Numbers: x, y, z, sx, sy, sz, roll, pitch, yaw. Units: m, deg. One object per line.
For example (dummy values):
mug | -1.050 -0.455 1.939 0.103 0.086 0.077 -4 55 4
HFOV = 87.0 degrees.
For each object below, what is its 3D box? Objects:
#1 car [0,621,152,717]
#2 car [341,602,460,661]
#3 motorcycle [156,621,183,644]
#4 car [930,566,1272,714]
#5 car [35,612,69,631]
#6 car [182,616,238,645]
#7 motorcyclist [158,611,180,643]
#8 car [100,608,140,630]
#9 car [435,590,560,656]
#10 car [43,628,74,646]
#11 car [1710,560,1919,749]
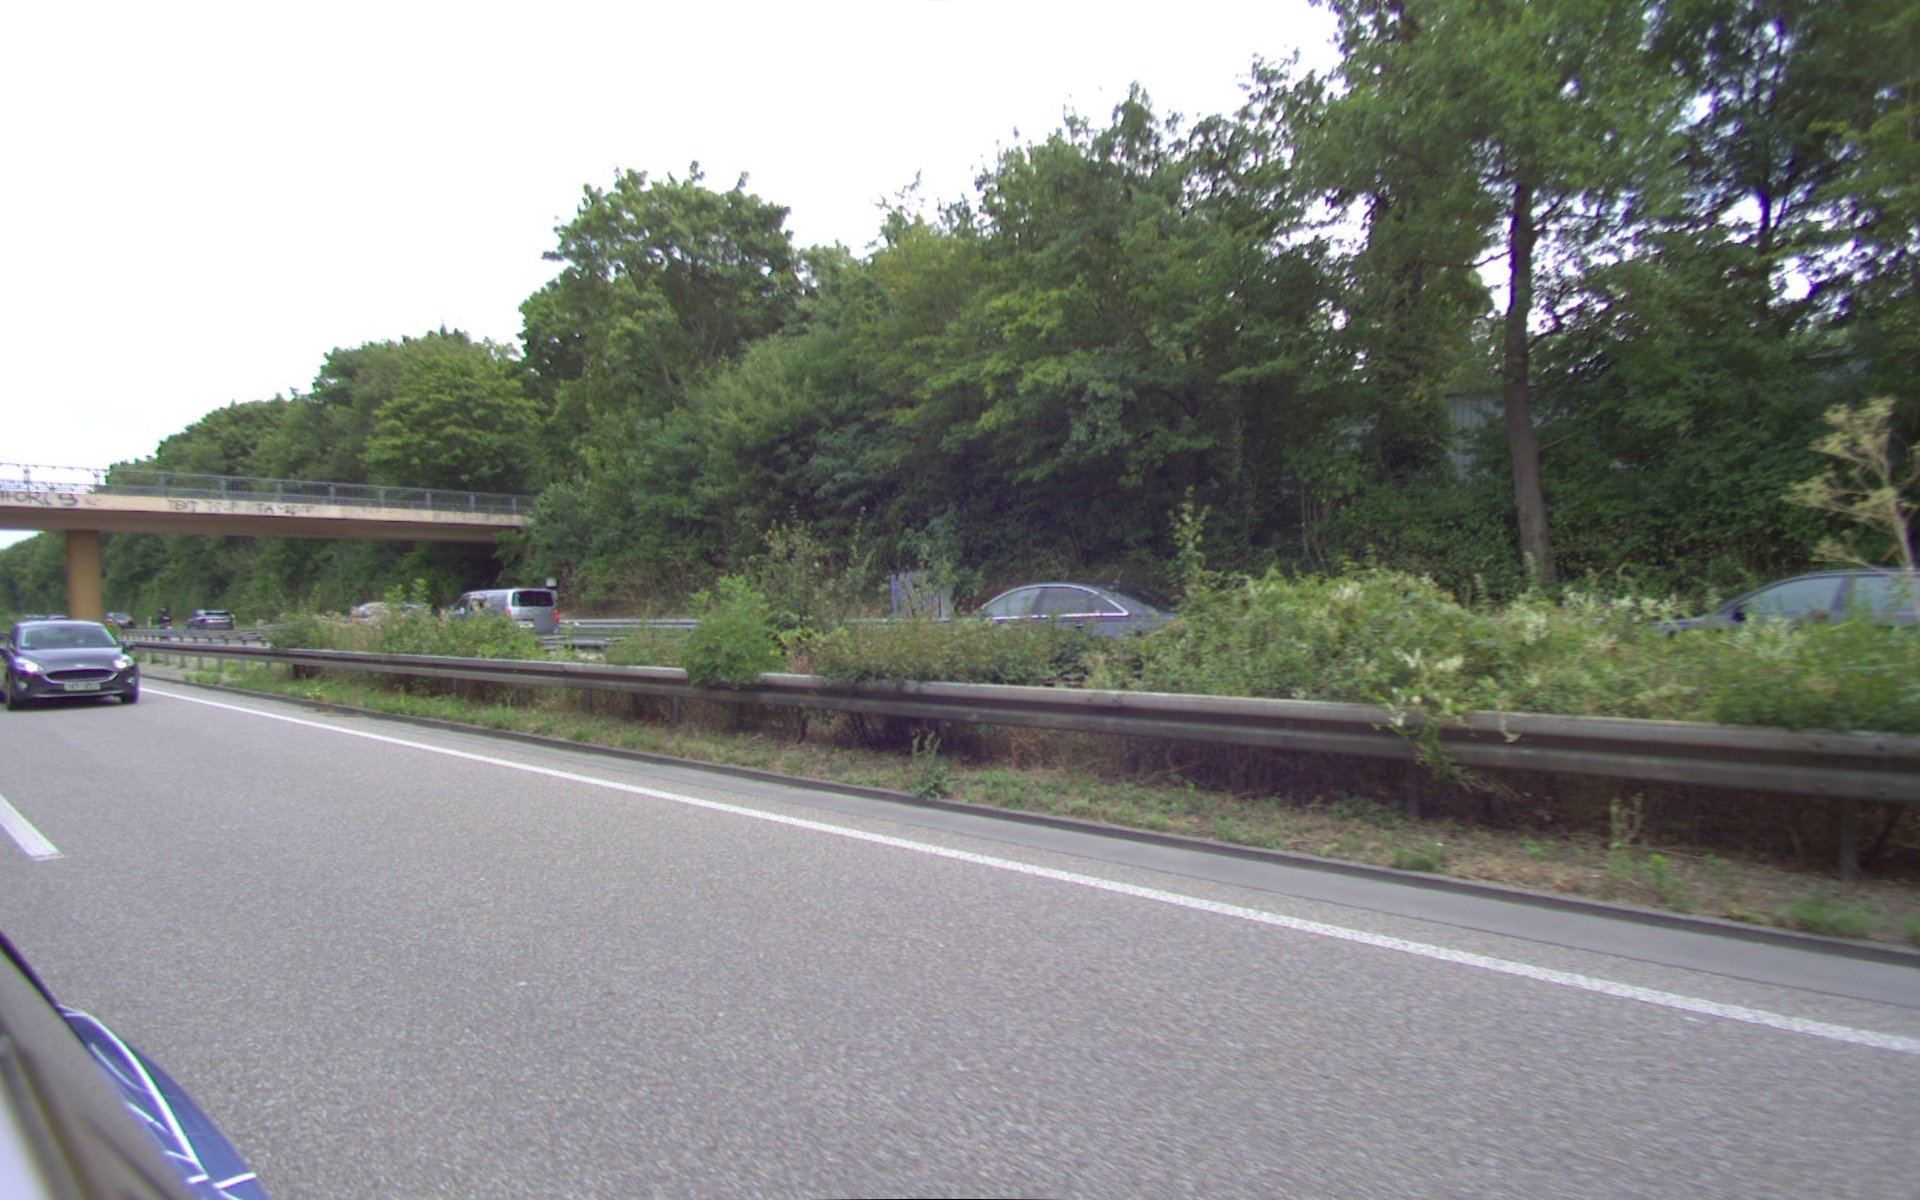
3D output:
car | -16.112 1.129 18.165 4.638 1.469 1.807 -1 -1 42
car | -16.541 0.893 29.834 4.180 1.602 1.784 -1 -1 41
motorcycle | -38.883 1.591 49.774 2.195 1.075 0.694 -1 -1 42
car | 1.732 0.455 13.164 3.999 1.623 1.972 -1 -1 42
car | -72.587 1.696 80.871 3.989 1.474 1.671 -1 -1 42
car | -46.168 1.849 62.268 4.639 1.664 1.873 -1 -1 42
motorcyclist | -39.025 1.335 49.899 0.846 1.560 0.673 -1 1 42
car | -69.229 1.541 83.396 4.639 1.699 1.873 -1 -1 42
car | -15.330 0.737 33.399 5.300 2.029 1.777 -1 -1 41
car | -89.348 3.666 100.292 4.639 1.664 1.873 -1 -1 42
car | 10.176 0.529 10.425 3.782 1.839 1.873 -1 -1 42
